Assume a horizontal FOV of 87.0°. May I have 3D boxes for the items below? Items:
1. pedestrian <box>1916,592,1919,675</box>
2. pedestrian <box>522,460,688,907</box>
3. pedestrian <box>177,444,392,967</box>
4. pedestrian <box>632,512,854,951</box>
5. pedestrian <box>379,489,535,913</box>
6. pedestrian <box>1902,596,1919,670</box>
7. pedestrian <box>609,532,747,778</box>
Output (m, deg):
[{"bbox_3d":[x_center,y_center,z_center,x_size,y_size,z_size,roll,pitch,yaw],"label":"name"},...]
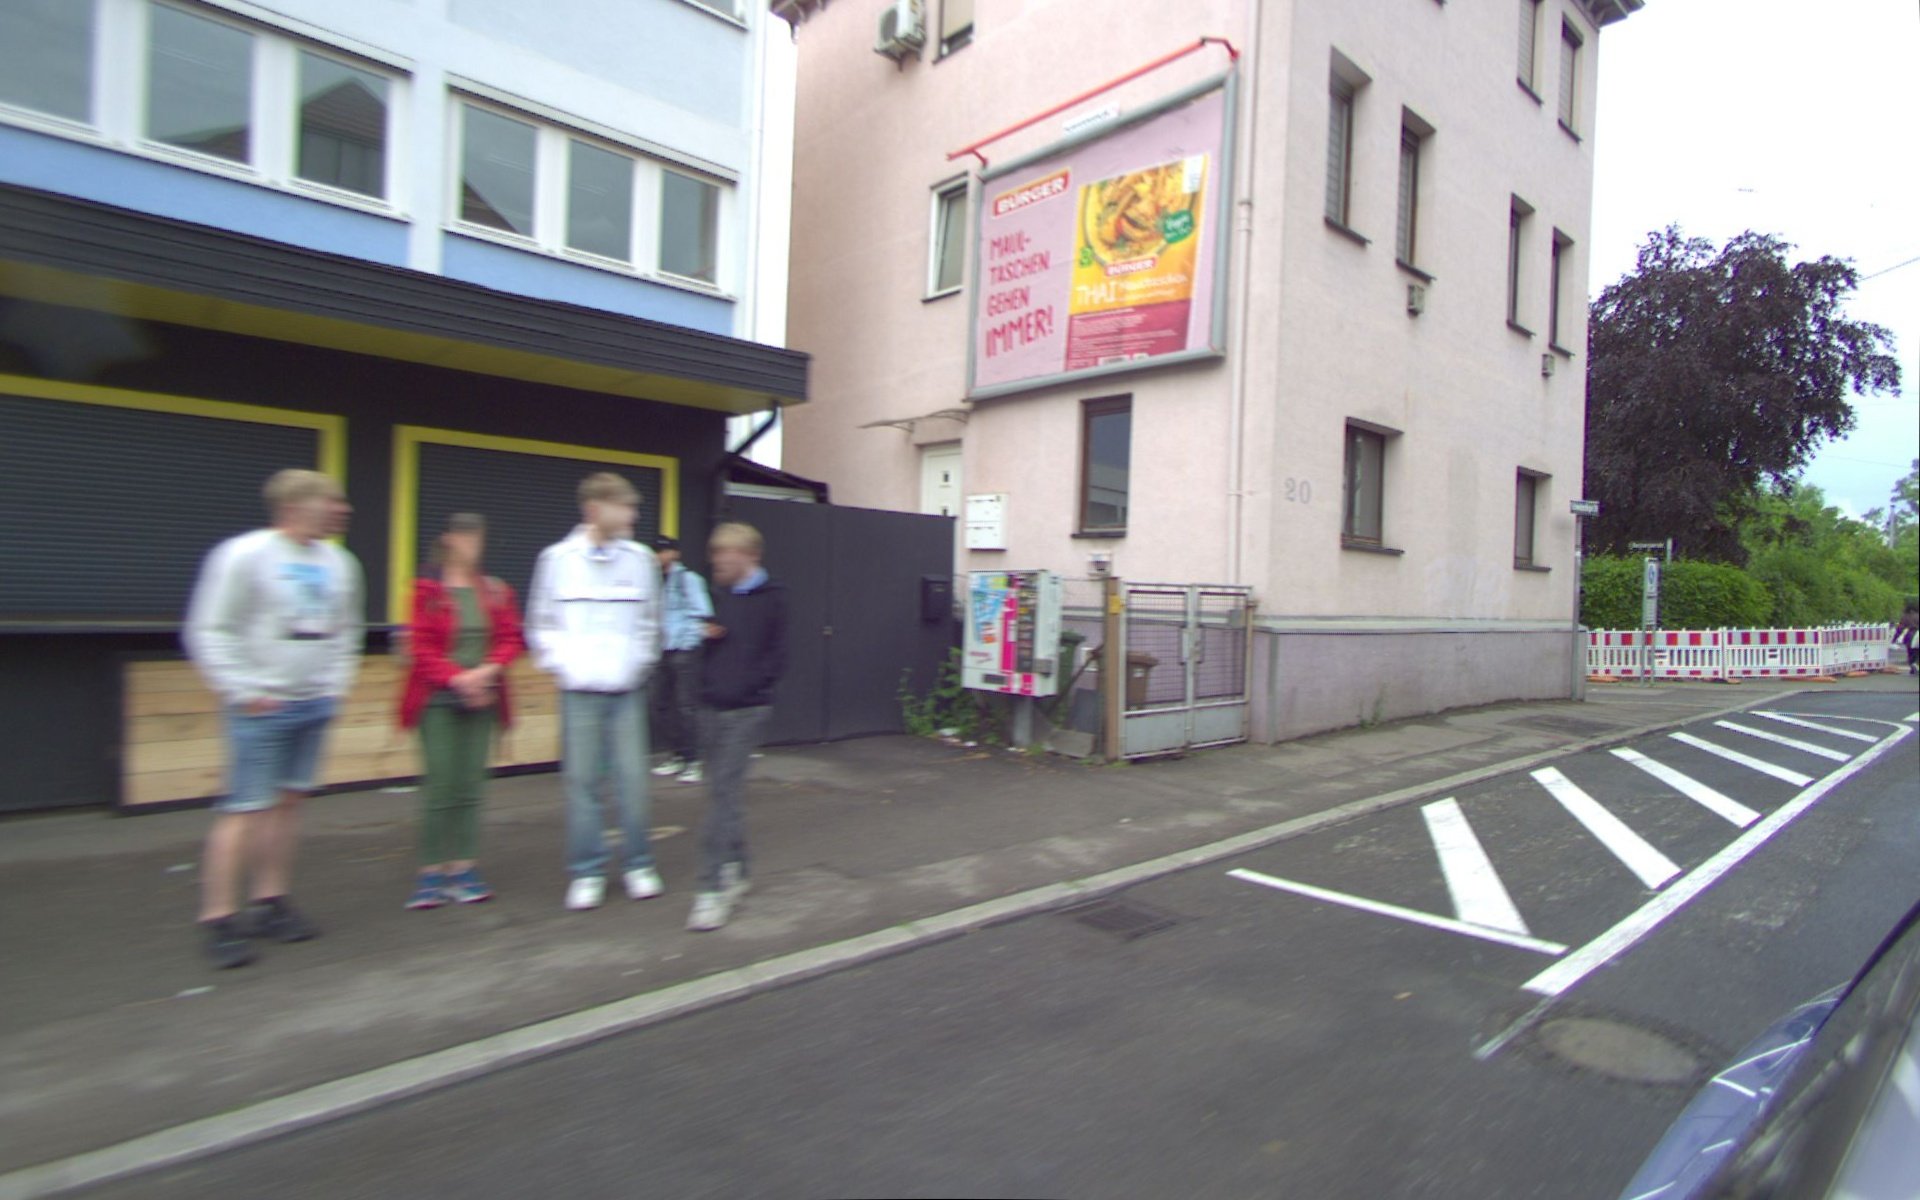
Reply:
[{"bbox_3d":[19.909,0.681,20.361,1.199,1.662,0.786,0,0,-37],"label":"pedestrian"},{"bbox_3d":[-1.617,0.352,4.607,0.619,1.897,0.489,2,3,-21],"label":"pedestrian"},{"bbox_3d":[-2.643,0.365,3.961,0.459,1.863,0.595,5,4,44],"label":"pedestrian"},{"bbox_3d":[-0.933,0.507,4.468,0.627,1.730,0.746,3,3,15],"label":"pedestrian"},{"bbox_3d":[-2.206,0.405,4.430,0.546,1.728,0.448,1,3,-30],"label":"pedestrian"},{"bbox_3d":[20.991,0.702,21.762,1.029,1.580,0.878,0,0,-34],"label":"pedestrian"},{"bbox_3d":[-2.014,0.358,7.260,0.667,1.645,0.620,4,3,21],"label":"pedestrian"}]
